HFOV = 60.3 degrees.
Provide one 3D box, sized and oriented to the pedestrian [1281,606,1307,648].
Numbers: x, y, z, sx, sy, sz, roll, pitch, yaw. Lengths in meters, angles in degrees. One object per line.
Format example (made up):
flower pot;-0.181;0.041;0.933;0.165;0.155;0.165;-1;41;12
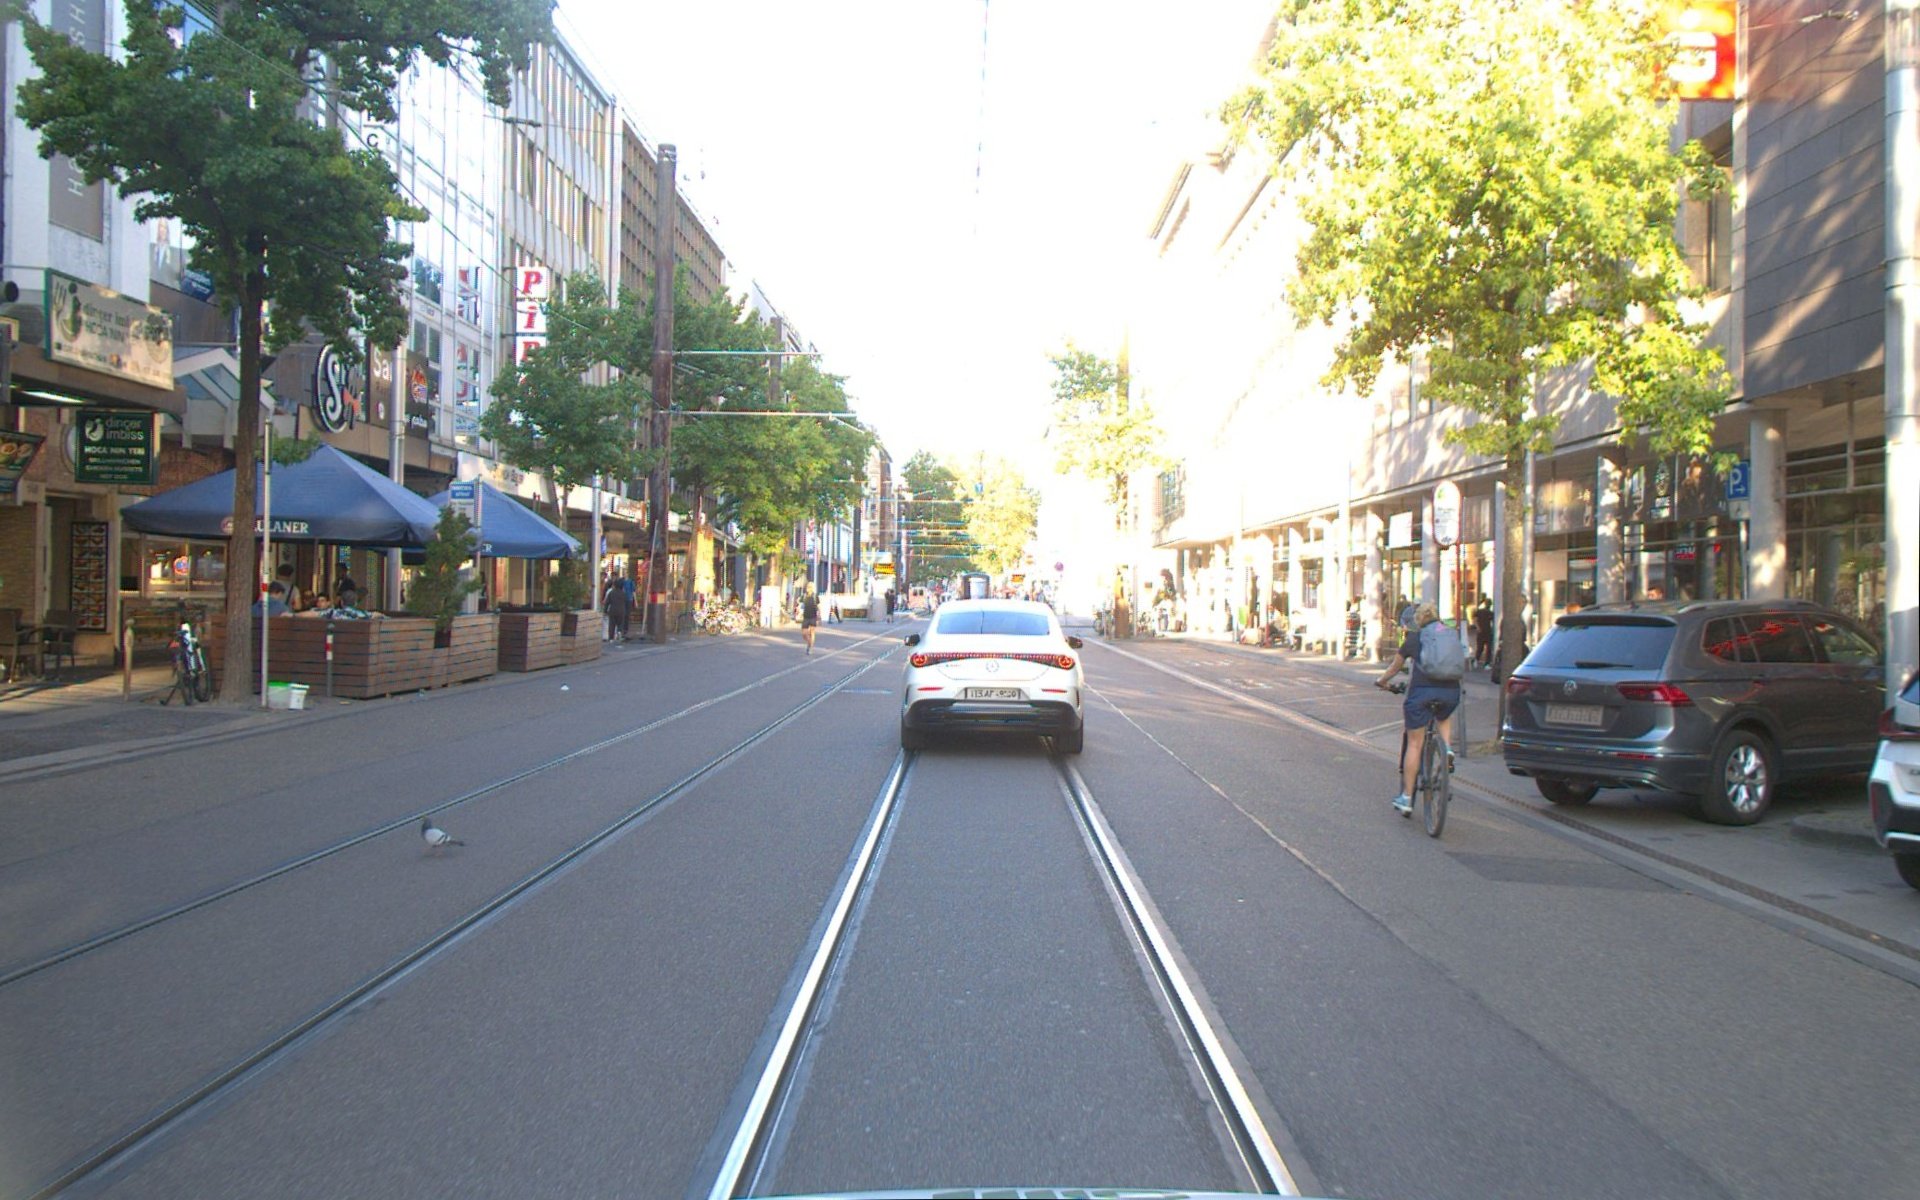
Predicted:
pedestrian;10.042;0.798;49.692;0.652;1.219;0.785;1;0;5

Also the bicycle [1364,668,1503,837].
bicycle;3.437;1.066;12.163;0.703;1.012;2.060;3;0;9

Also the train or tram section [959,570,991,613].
train or tram section;1.309;-0.712;145.867;2.639;3.578;12.545;1;0;1

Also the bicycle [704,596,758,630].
bicycle;-8.205;0.455;59.277;1.808;1.160;0.377;2;0;2

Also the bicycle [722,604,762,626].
bicycle;-8.394;0.588;63.743;1.462;0.797;0.345;2;0;2

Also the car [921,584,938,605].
car;-3.728;-0.622;202.599;1.870;2.504;5.275;1;0;1

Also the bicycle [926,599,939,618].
bicycle;-1.816;0.543;108.263;0.783;1.162;2.257;2;0;-1

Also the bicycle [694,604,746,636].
bicycle;-7.594;0.630;52.289;1.561;0.946;0.377;2;0;7

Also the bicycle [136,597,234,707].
bicycle;-9.104;0.578;19.498;0.686;1.140;2.077;3;1;-17

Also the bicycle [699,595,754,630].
bicycle;-7.855;0.418;55.665;1.753;1.096;0.377;2;0;-4

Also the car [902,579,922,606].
car;-5.293;-0.786;183.756;1.952;2.948;5.275;1;0;1

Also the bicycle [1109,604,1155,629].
bicycle;8.028;0.770;77.226;2.075;1.115;0.608;0;0;-11

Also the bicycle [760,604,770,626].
bicycle;-7.712;0.589;65.384;0.337;0.797;1.403;2;0;-7

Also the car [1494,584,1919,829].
car;6.569;0.755;13.708;4.298;1.681;1.677;-2;0;-31

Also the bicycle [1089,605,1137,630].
bicycle;6.993;0.788;75.702;2.075;1.115;0.608;1;-1;-11

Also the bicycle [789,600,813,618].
bicycle;-9.194;0.532;95.699;0.703;1.027;2.041;1;0;14

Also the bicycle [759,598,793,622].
bicycle;-8.284;0.444;74.496;1.465;1.047;0.344;2;0;-10

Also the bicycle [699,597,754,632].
bicycle;-7.799;0.483;55.201;1.753;1.096;0.377;2;0;-4

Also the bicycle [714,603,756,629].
bicycle;-8.314;0.595;61.121;1.464;0.892;0.344;2;0;-6

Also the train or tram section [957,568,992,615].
train or tram section;1.178;-0.669;133.314;2.639;3.578;12.545;1;0;1

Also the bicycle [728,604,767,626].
bicycle;-8.283;0.593;64.424;1.462;0.797;0.345;2;0;2

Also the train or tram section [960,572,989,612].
train or tram section;1.425;-0.748;157.709;2.639;3.578;11.143;1;0;1

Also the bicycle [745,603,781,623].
bicycle;-8.492;0.567;71.294;1.462;0.797;0.345;2;0;2

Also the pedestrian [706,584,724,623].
pedestrian;-10.503;0.151;70.860;0.700;1.668;0.684;1;0;-6

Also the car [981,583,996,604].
car;4.038;-0.981;234.917;2.056;2.948;5.285;1;0;1

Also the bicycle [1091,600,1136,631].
bicycle;6.730;0.679;72.719;1.874;1.303;0.608;-1;0;-11

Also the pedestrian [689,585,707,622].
pedestrian;-11.183;0.160;70.534;0.700;1.574;0.684;1;0;-6

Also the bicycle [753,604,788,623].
bicycle;-8.341;0.588;72.730;1.462;0.797;0.345;2;0;2

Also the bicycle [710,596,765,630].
bicycle;-7.656;0.456;56.828;1.810;1.096;0.377;2;0;-4

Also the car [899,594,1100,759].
car;0.376;0.697;17.254;1.819;1.481;4.175;1;0;0

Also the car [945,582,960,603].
car;-1.057;-1.090;234.631;2.056;2.948;5.275;1;0;1

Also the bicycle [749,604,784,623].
bicycle;-8.464;0.587;72.368;1.462;0.797;0.345;2;0;2

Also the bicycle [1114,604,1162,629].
bicycle;8.077;0.740;75.027;2.077;1.115;0.608;0;0;-13

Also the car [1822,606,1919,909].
car;7.183;0.811;9.703;4.192;1.615;1.865;-2;0;-31

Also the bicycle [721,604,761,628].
bicycle;-8.373;0.604;63.178;1.462;0.855;0.345;2;0;2

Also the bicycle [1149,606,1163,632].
bicycle;9.144;0.873;77.265;0.553;1.147;1.930;-1;0;4

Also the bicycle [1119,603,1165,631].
bicycle;7.904;0.732;71.903;1.874;1.177;0.608;-1;0;-11

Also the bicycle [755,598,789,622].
bicycle;-8.419;0.446;74.058;1.465;1.027;0.344;2;0;-10

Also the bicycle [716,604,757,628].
bicycle;-8.432;0.598;62.448;1.462;0.855;0.345;2;0;2
